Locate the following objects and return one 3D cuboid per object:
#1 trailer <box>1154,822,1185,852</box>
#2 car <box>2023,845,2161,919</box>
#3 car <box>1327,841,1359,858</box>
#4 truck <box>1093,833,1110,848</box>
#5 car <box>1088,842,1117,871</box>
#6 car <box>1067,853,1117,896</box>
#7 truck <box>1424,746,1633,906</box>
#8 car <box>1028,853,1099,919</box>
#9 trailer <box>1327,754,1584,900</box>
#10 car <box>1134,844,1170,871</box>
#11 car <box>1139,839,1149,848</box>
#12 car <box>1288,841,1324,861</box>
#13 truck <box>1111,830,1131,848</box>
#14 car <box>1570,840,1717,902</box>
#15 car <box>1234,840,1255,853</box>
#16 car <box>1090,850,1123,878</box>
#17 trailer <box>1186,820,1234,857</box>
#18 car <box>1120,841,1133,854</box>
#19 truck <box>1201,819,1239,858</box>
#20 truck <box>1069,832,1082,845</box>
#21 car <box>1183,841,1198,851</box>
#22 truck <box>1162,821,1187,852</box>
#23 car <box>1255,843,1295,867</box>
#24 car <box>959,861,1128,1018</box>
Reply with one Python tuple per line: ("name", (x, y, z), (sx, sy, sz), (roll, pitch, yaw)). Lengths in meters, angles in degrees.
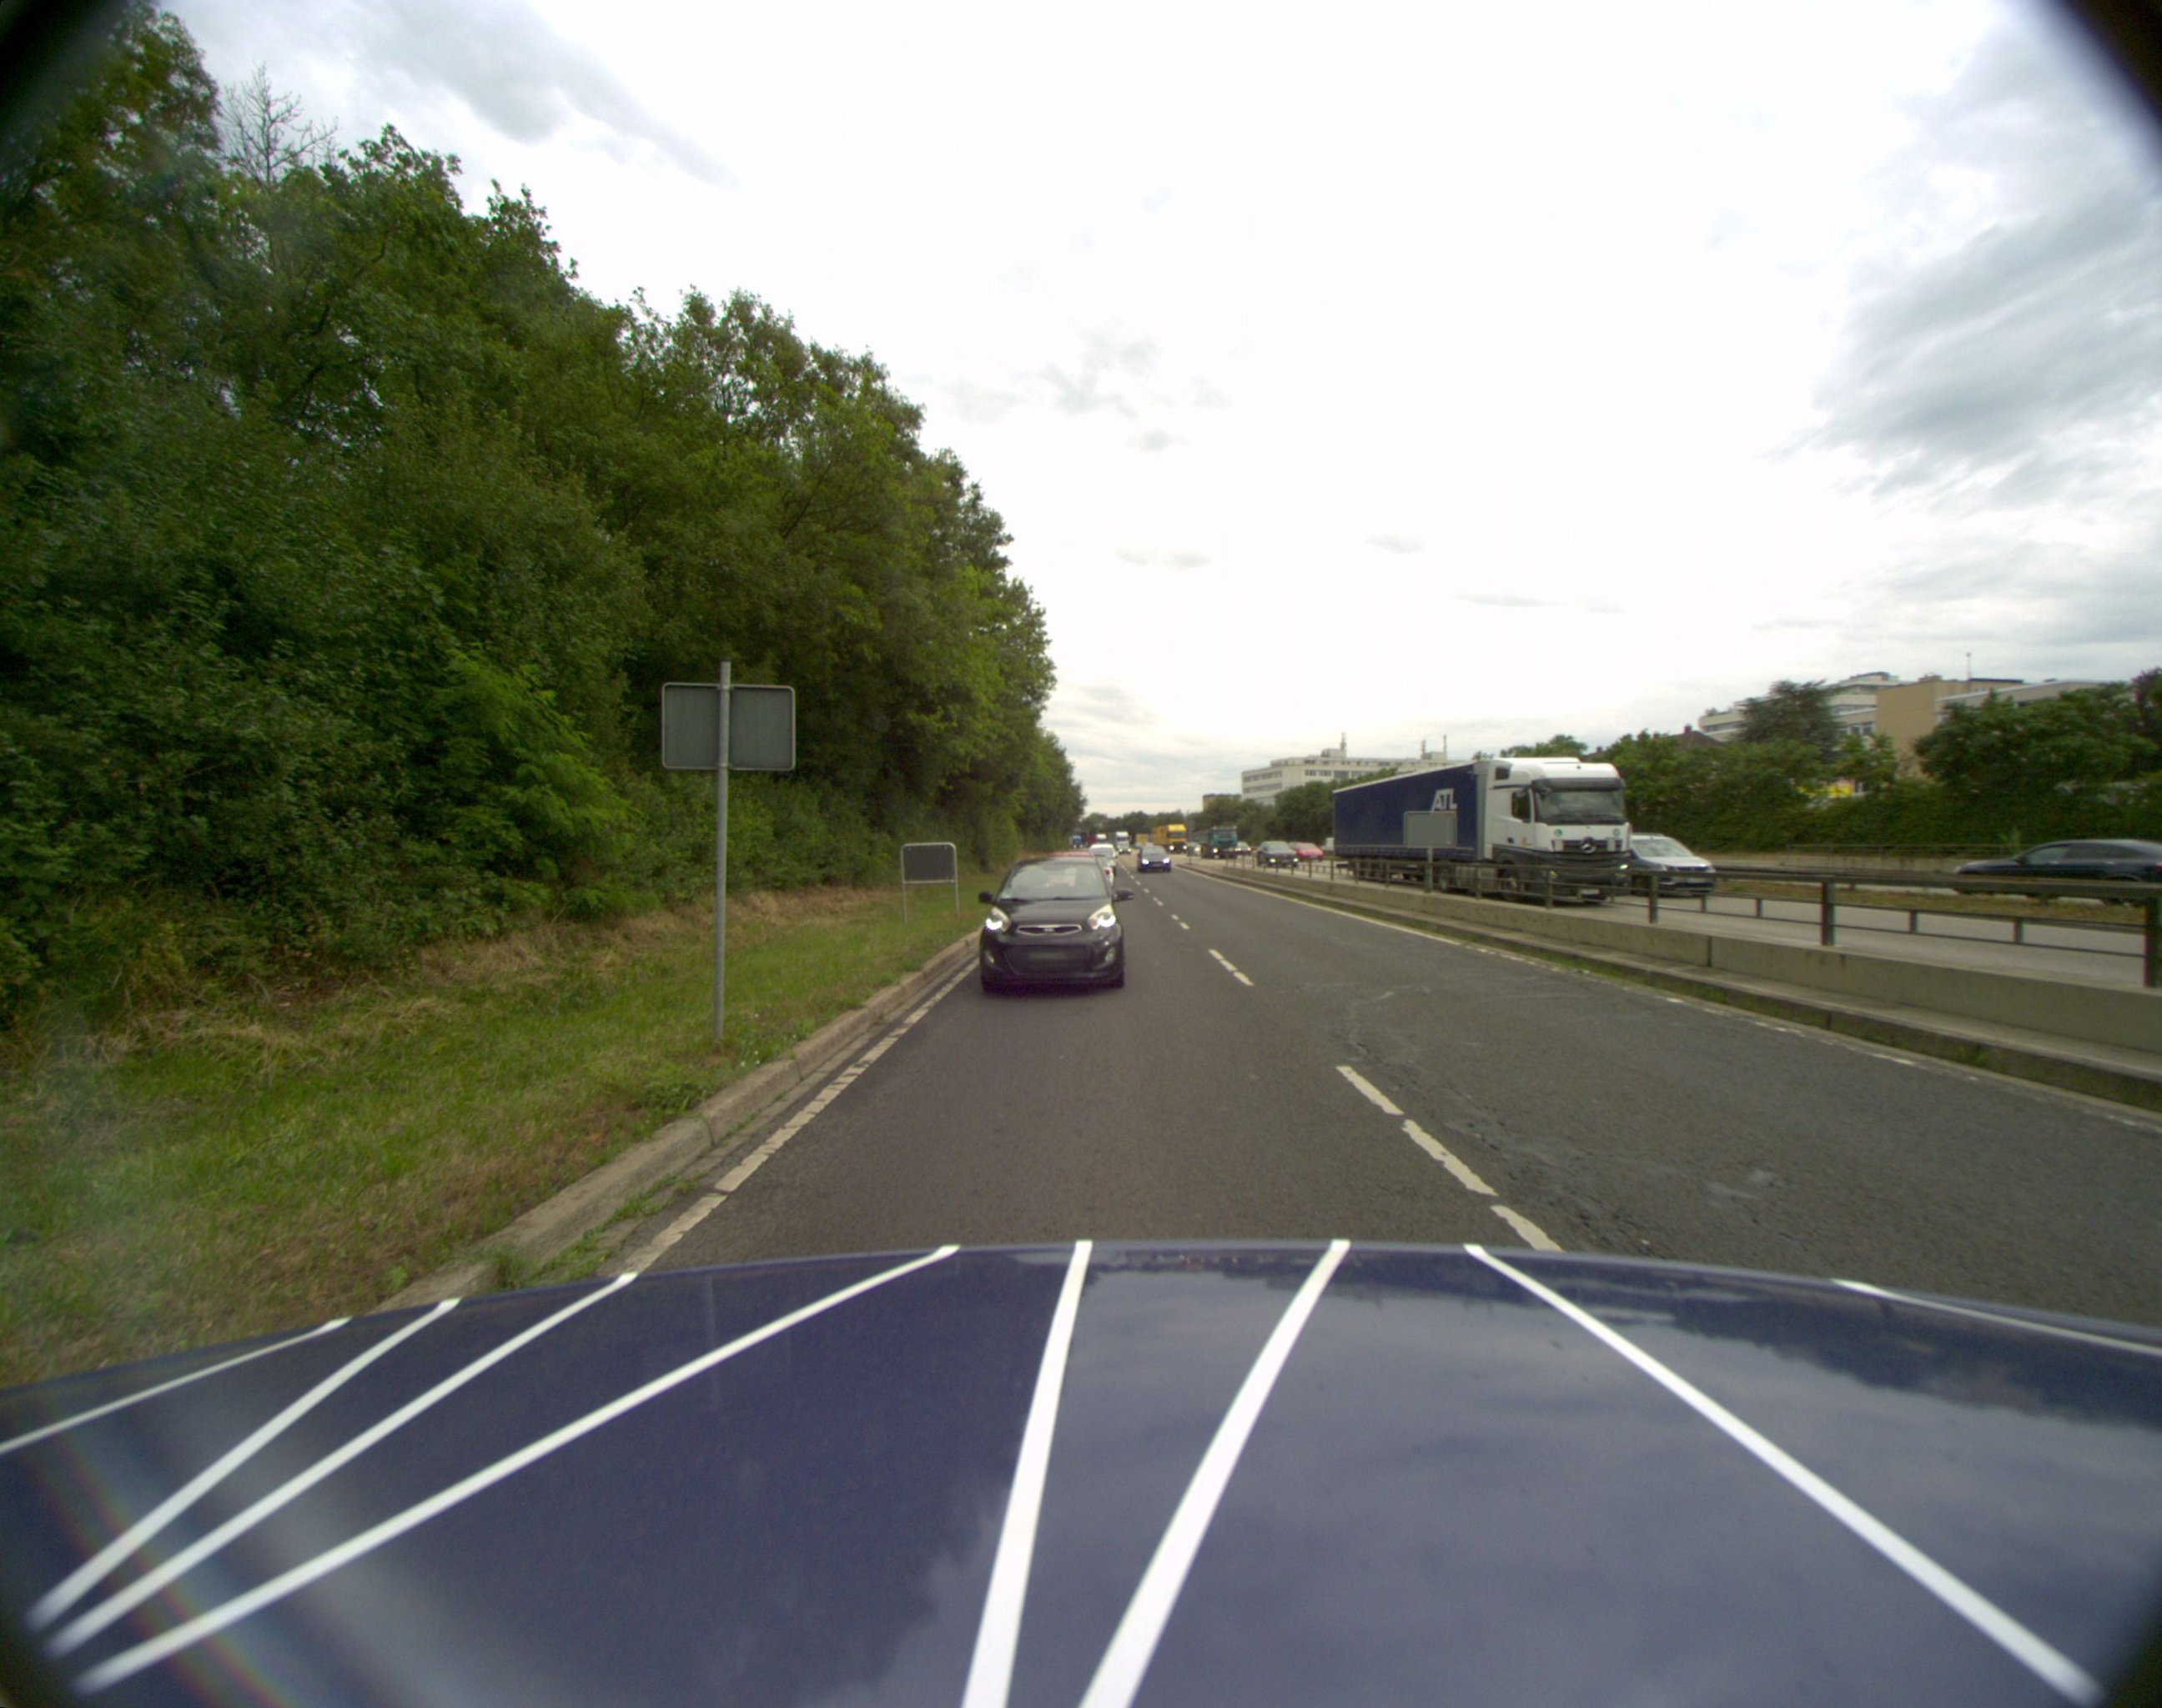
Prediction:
("trailer", (13.472, -2.568, 117.448), (2.897, 4.328, 19.919), (0, 1, 1))
("car", (23.462, 0.584, 16.327), (1.627, 1.503, 3.896), (-2, 1, 1))
("car", (25.065, -0.425, 72.721), (1.733, 1.503, 3.896), (-2, 1, 1))
("truck", (5.592, -3.836, 211.321), (2.532, 4.013, 13.766), (0, 1, -8))
("car", (1.417, 0.122, 50.298), (1.769, 1.786, 4.577), (-2, 1, 1))
("car", (0.391, 0.697, 27.433), (1.627, 1.337, 4.000), (-2, 1, 1))
("truck", (12.619, -0.745, 22.145), (2.531, 4.014, 6.096), (0, 1, 1))
("car", (-0.375, 0.747, 19.770), (1.627, 1.433, 4.000), (-2, 1, 1))
("trailer", (12.744, -0.860, 28.420), (2.531, 4.013, 14.782), (0, 1, 1))
("car", (4.307, 0.172, 46.554), (1.784, 1.554, 4.421), (-2, 1, 1))
("car", (14.959, -2.409, 179.694), (1.998, 2.002, 4.000), (0, 1, 1))
("car", (17.463, -0.265, 59.191), (1.627, 1.433, 4.000), (-2, 1, 1))
("truck", (9.177, -3.553, 176.377), (2.958, 4.013, 13.771), (0, 1, -4))
("car", (16.992, 0.449, 23.215), (1.627, 1.660, 3.896), (-2, 1, 1))
("car", (19.031, -0.852, 88.714), (1.627, 1.433, 4.000), (-2, 1, 1))
("car", (1.322, 0.492, 40.055), (1.627, 1.337, 4.000), (-2, 1, 1))
("trailer", (13.629, -1.616, 81.656), (2.613, 3.620, 16.747), (0, 1, 1))
("car", (7.037, -0.995, 117.015), (1.769, 1.786, 4.577), (-2, 1, 1))
("truck", (13.508, -1.533, 74.286), (2.645, 3.614, 6.667), (0, 1, 1))
("truck", (-1.756, -5.123, 249.516), (2.532, 4.013, 13.766), (0, 1, -8))
("car", (17.564, -1.286, 121.696), (1.784, 1.554, 4.421), (-2, 1, 1))
("truck", (13.340, -2.429, 108.449), (2.893, 4.319, 6.518), (0, 1, 1))
("car", (12.509, 0.036, 49.255), (1.627, 1.433, 4.000), (-2, 1, 1))
("car", (-0.340, 0.873, 9.580), (1.627, 1.433, 4.000), (-2, 1, 1))
